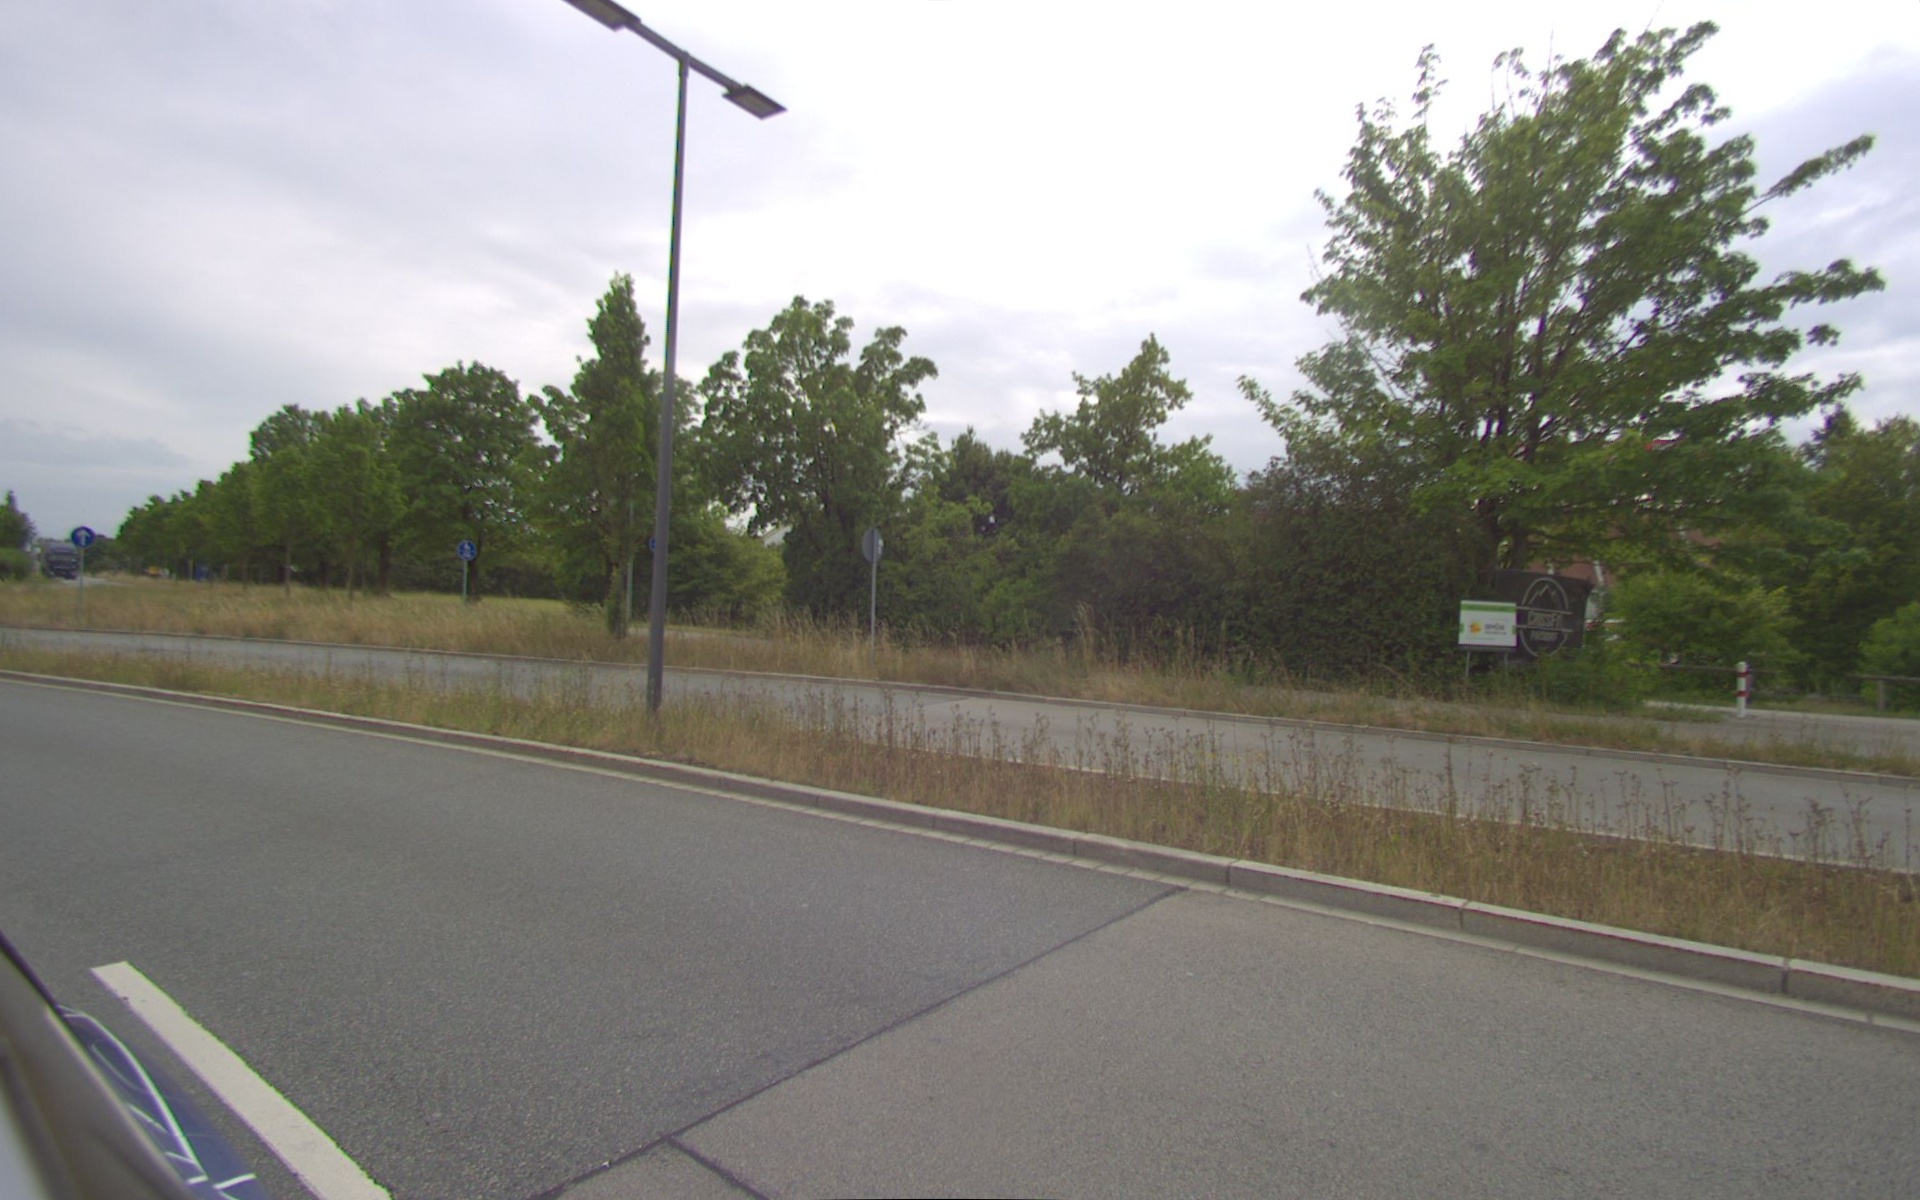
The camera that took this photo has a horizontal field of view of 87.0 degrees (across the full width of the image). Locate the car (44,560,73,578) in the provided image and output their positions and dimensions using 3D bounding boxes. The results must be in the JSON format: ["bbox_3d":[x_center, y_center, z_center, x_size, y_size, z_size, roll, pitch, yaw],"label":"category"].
[{"bbox_3d":[-98.486,-3.345,110.586,4.000,1.763,1.971,0,-3,43],"label":"car"}]
